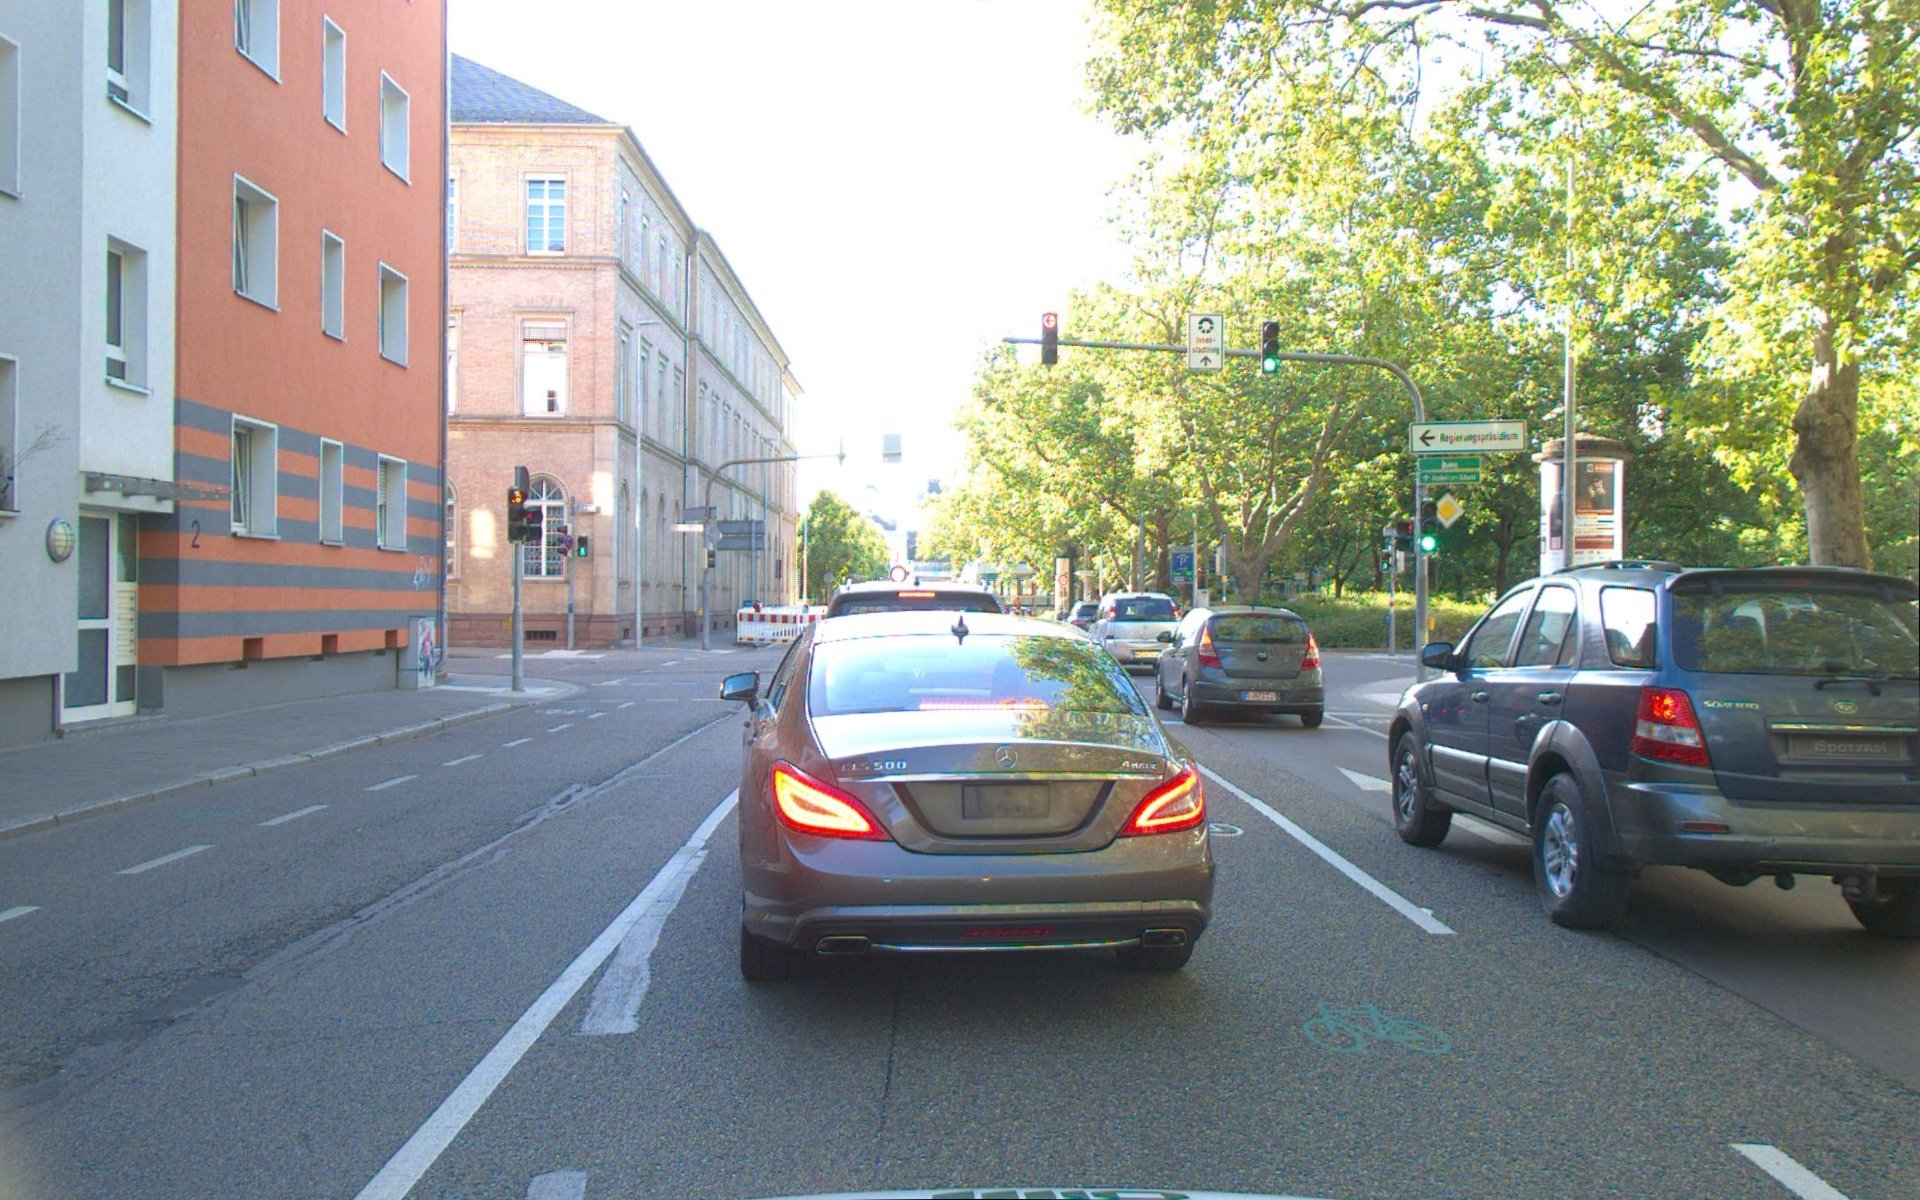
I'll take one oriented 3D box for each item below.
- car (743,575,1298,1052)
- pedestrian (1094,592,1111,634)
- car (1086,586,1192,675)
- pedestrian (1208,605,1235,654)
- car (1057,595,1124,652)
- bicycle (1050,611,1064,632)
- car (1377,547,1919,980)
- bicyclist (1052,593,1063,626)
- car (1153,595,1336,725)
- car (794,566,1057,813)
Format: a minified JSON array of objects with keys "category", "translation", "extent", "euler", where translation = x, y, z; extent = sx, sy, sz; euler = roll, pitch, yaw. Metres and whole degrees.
[{"category":"car","translation":[-0.034,0.692,7.473],"extent":[1.826,1.545,3.993],"euler":[1,0,-8]},{"category":"pedestrian","translation":[6.227,0.567,72.259],"extent":[0.623,1.791,0.698],"euler":[1,-1,-5]},{"category":"car","translation":[3.588,0.593,33.758],"extent":[1.696,1.691,3.680],"euler":[1,0,-1]},{"category":"pedestrian","translation":[8.500,0.961,53.784],"extent":[0.623,1.572,0.909],"euler":[1,0,-7]},{"category":"car","translation":[3.715,0.658,47.695],"extent":[1.568,1.576,3.680],"euler":[1,0,-1]},{"category":"bicycle","translation":[6.171,1.369,105.078],"extent":[0.580,1.285,1.804],"euler":[1,0,-5]},{"category":"car","translation":[3.818,0.679,9.141],"extent":[1.823,1.794,4.481],"euler":[1,0,-1]},{"category":"bicyclist","translation":[6.187,0.590,105.039],"extent":[0.583,2.075,0.565],"euler":[1,-1,-5]},{"category":"car","translation":[3.667,0.719,21.960],"extent":[1.670,1.545,3.999],"euler":[1,0,-1]},{"category":"car","translation":[-0.271,0.621,13.600],"extent":[1.823,1.712,3.999],"euler":[1,0,-1]}]
